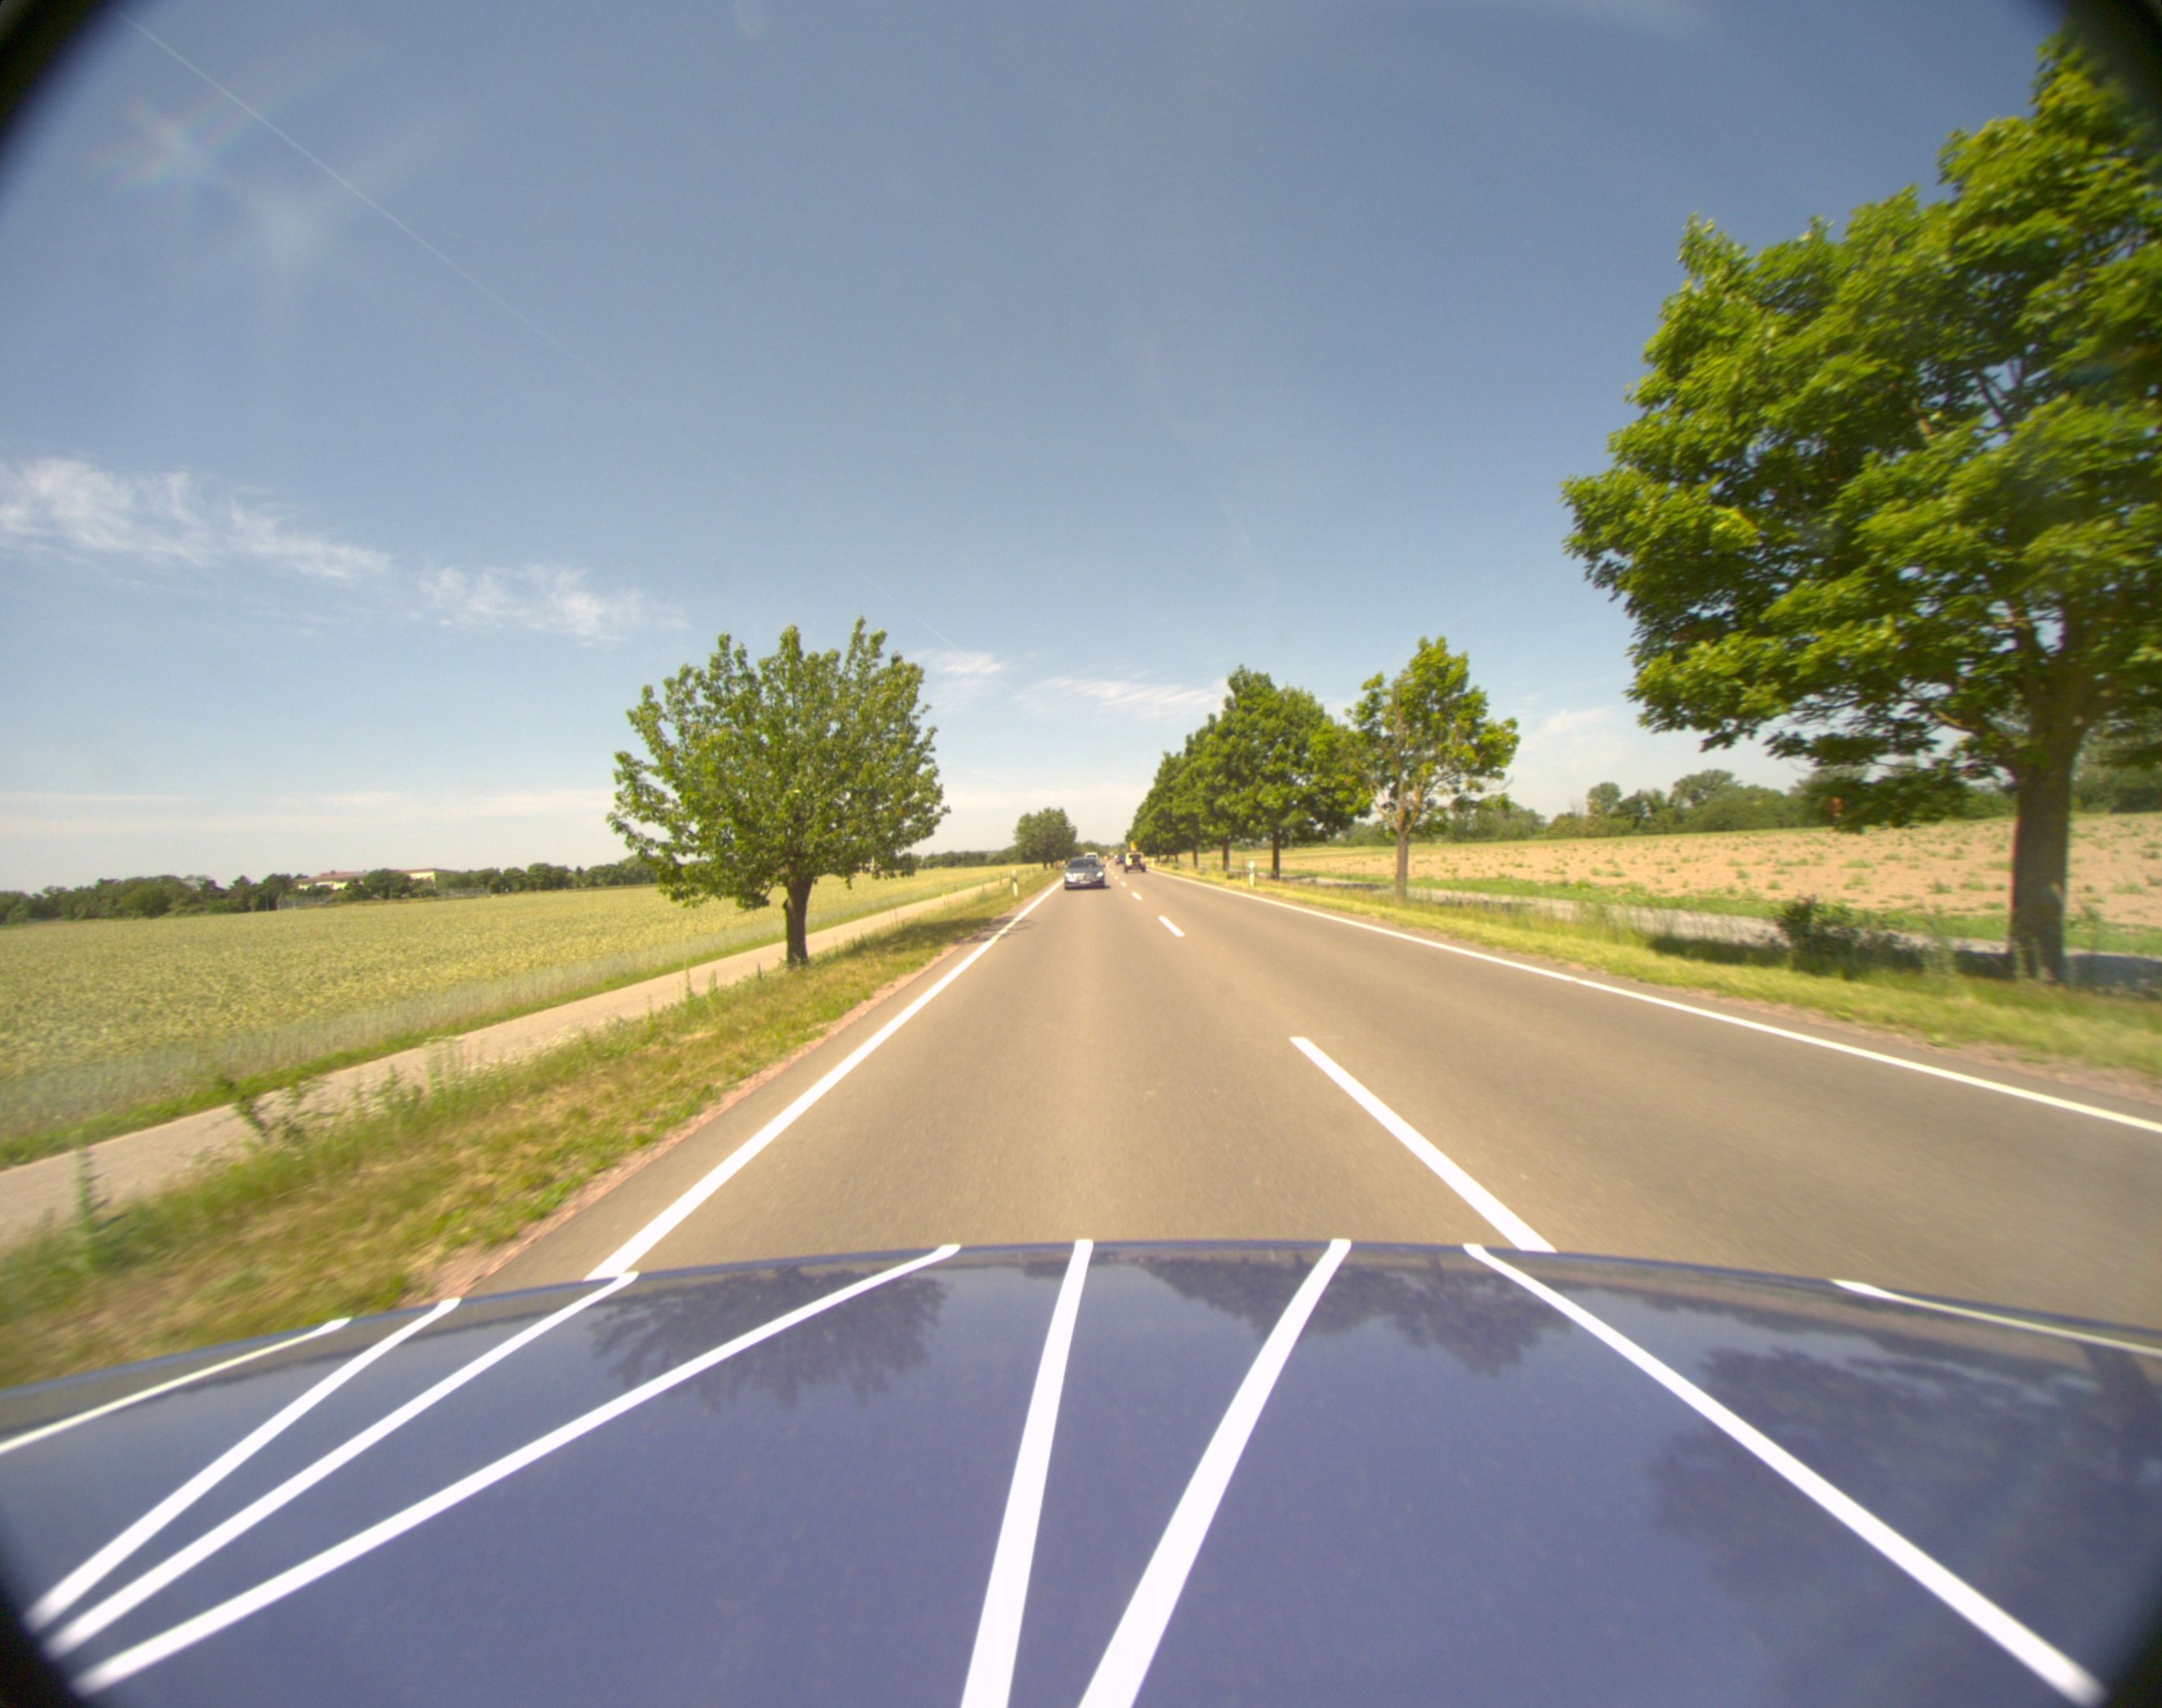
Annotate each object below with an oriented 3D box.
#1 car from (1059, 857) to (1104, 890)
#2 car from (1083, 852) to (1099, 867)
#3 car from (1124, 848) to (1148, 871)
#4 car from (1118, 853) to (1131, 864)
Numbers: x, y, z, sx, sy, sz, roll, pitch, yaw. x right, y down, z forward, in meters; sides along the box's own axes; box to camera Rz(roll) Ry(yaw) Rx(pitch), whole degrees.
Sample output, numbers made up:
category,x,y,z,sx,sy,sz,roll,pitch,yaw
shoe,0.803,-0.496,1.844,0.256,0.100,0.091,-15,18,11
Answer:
category,x,y,z,sx,sy,sz,roll,pitch,yaw
car,0.068,0.885,35.947,1.953,1.390,4.000,-1,0,2
car,1.461,0.756,105.521,1.998,1.907,4.207,-3,0,2
car,4.599,0.438,63.756,1.685,1.838,4.000,-3,0,1
car,6.537,0.672,114.834,1.826,1.412,4.589,-2,1,1
